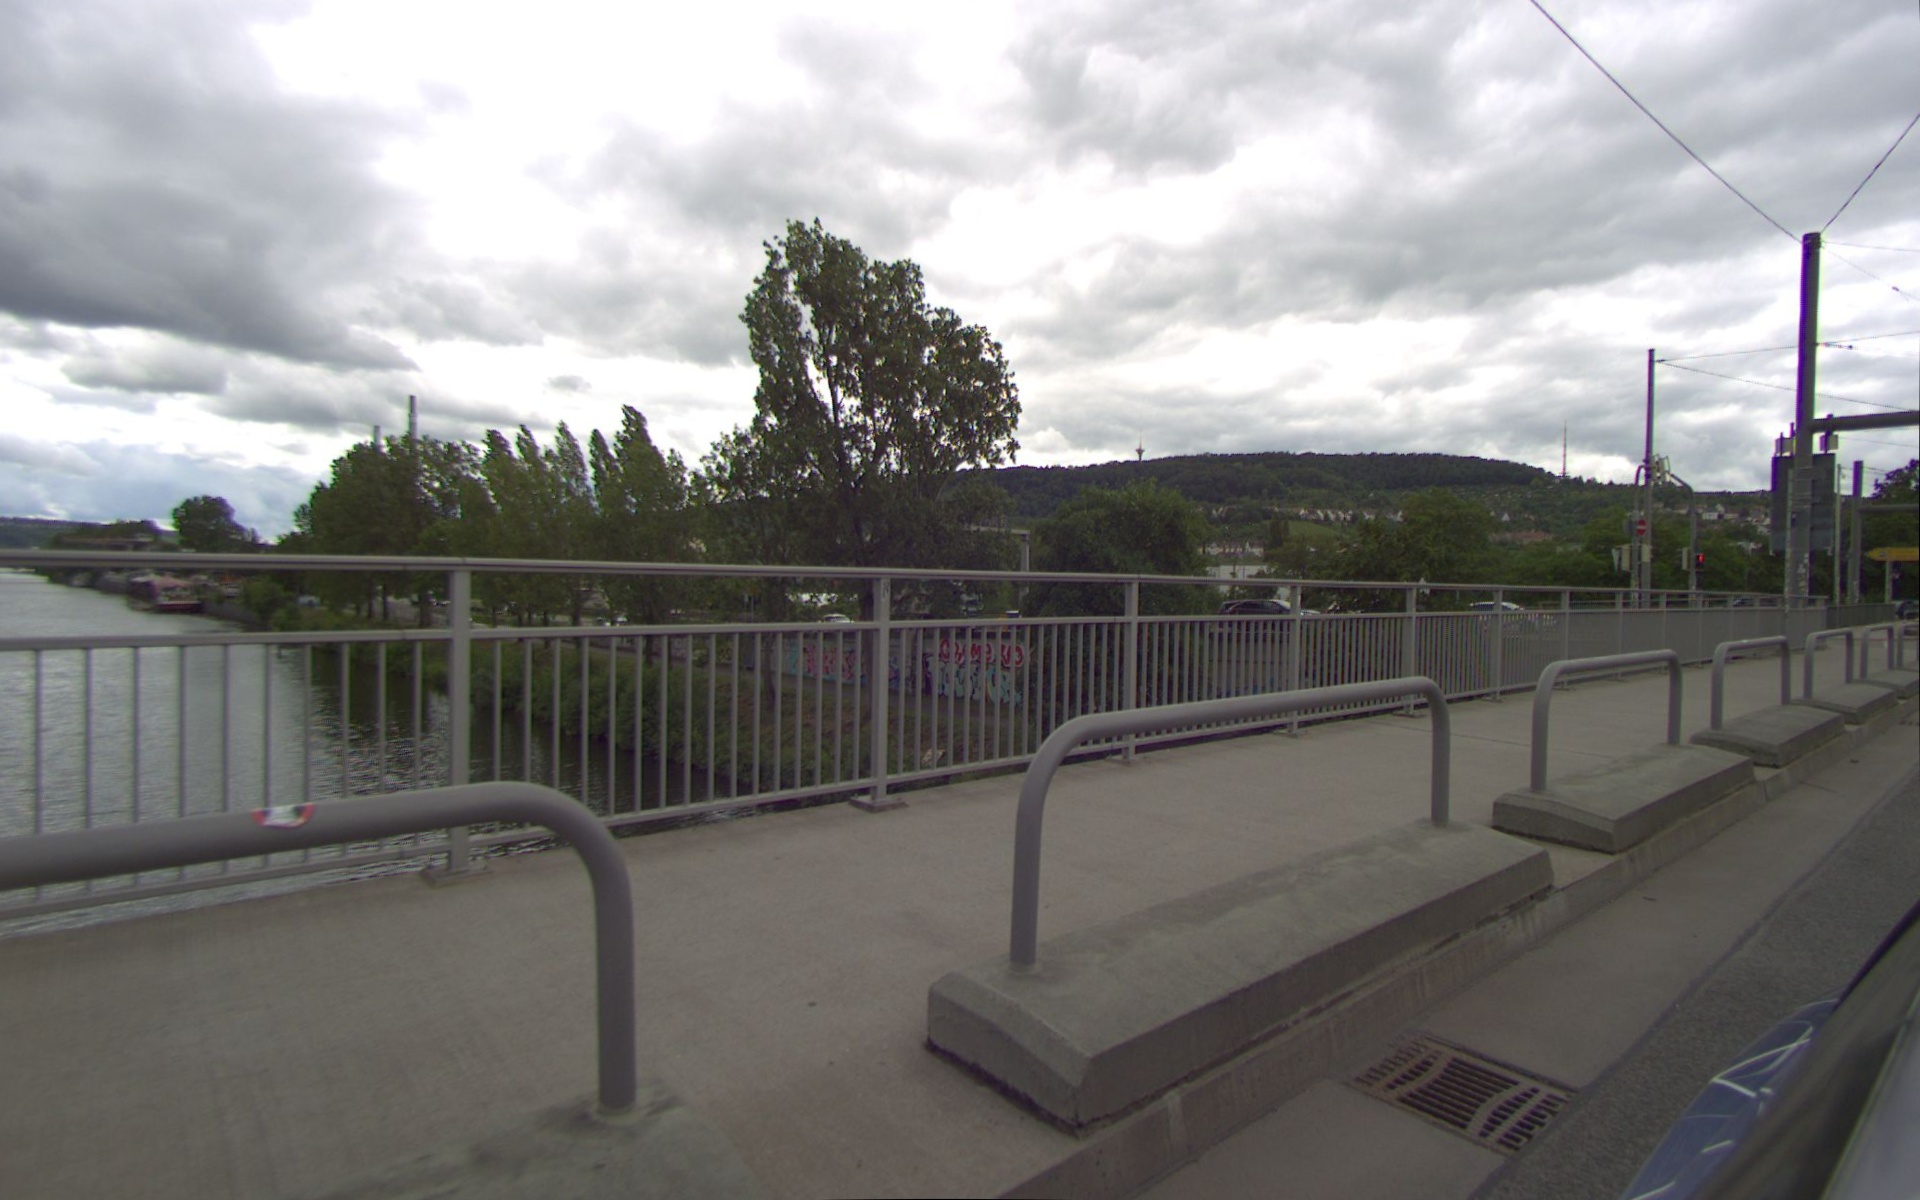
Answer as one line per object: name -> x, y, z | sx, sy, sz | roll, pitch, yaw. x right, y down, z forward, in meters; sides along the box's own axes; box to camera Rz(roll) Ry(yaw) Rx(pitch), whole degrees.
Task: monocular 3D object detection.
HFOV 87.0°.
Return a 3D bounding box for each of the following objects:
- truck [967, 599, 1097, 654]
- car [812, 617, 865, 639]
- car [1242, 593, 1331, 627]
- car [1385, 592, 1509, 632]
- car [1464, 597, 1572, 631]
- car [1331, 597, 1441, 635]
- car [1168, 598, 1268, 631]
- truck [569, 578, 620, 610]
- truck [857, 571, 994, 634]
truck -> 6.695, 2.409, 98.450 | 3.323, 3.963, 14.413 | 0, 4, -41
car -> -9.576, 2.180, 79.463 | 1.889, 1.559, 4.383 | -1, 0, -42
car -> 15.663, 0.461, 48.649 | 1.667, 1.559, 3.752 | -1, 0, -42
car -> 19.434, 0.475, 40.479 | 1.668, 1.438, 4.143 | -2, 1, -43
car -> 24.188, 0.587, 43.951 | 1.761, 1.329, 3.757 | -2, 1, -42
car -> 20.086, 0.729, 47.838 | 1.966, 1.639, 4.335 | -2, 1, -41
car -> 13.795, 0.768, 54.306 | 1.966, 1.639, 4.953 | -2, 1, -41
truck -> -62.738, -1.140, 173.565 | 3.527, 4.540, 13.163 | 0, 4, -42
truck -> -2.509, 0.129, 68.320 | 3.173, 3.928, 10.403 | 0, 0, -43
